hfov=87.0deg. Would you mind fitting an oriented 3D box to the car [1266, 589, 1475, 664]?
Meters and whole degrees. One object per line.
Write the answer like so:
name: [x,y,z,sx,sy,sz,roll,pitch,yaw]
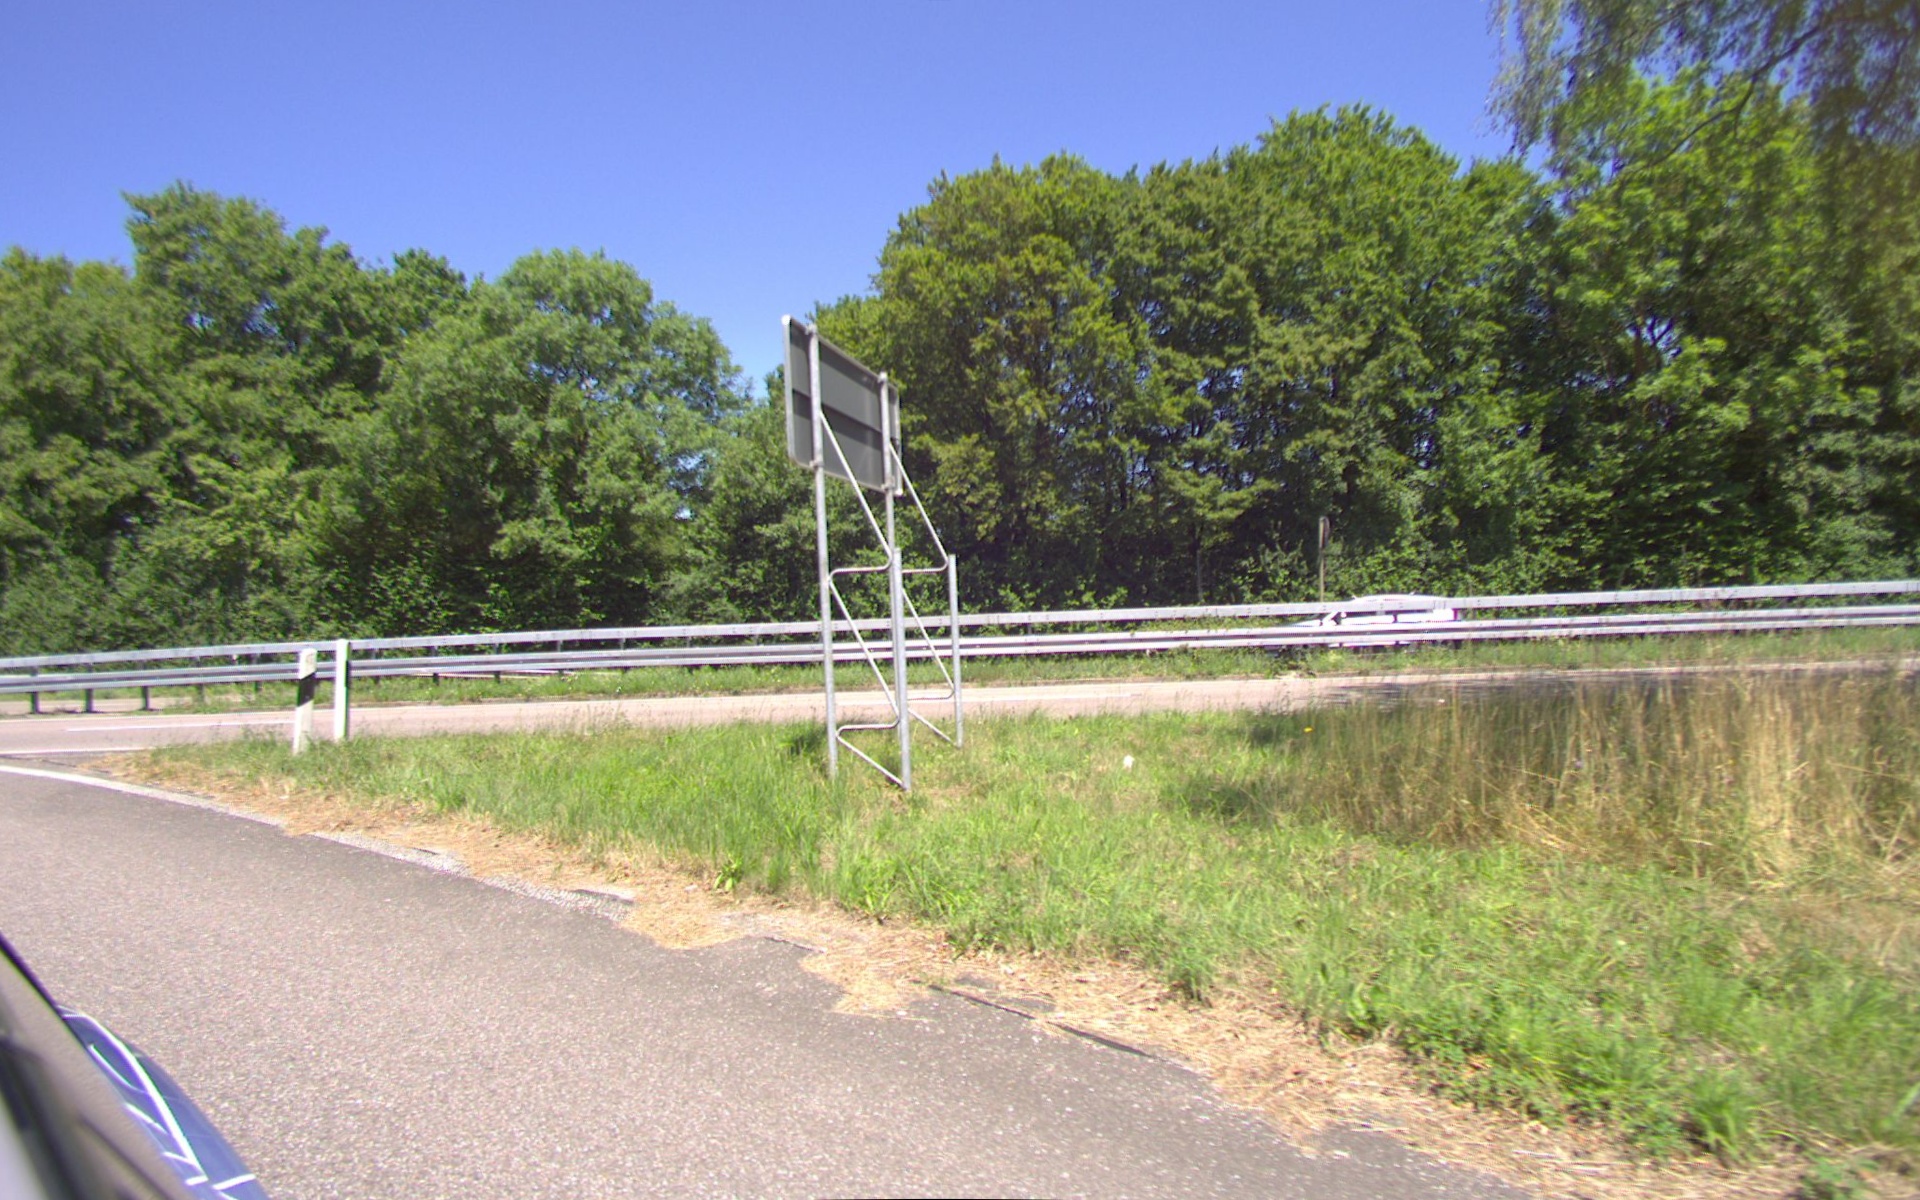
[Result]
car: [8.646,0.585,21.564,3.801,1.392,1.442,-3,-2,6]
